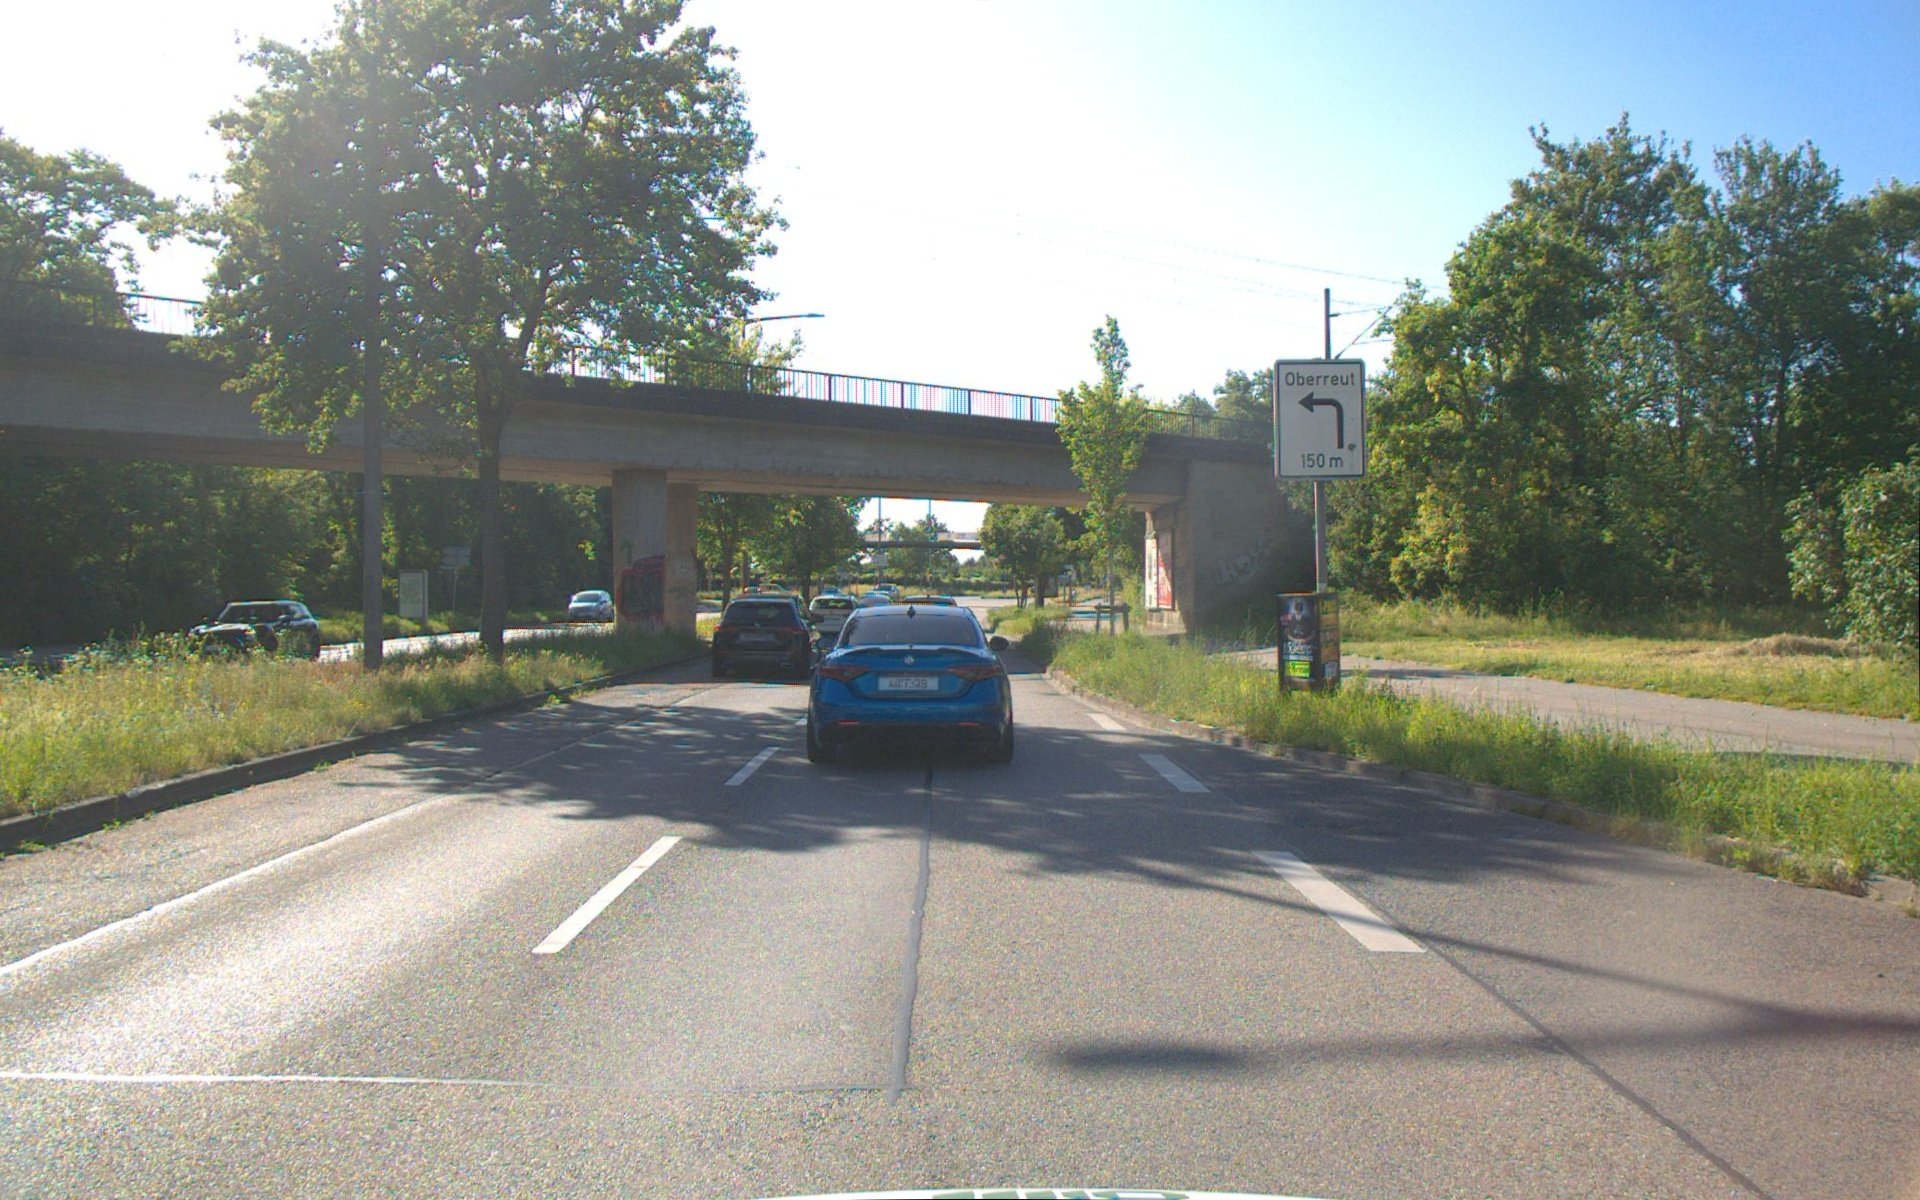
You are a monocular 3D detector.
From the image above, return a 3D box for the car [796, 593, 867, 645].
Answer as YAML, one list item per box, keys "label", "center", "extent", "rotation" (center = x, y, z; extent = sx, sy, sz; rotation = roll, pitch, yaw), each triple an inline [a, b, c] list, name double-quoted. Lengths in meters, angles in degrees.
- label: "car"
  center: [-3.880, 0.549, 50.511]
  extent: [1.844, 1.479, 4.525]
  rotation: [1, 0, -1]

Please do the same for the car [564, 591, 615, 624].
- label: "car"
  center: [-19.277, 0.374, 86.268]
  extent: [1.694, 1.645, 4.179]
  rotation: [-1, 0, 0]

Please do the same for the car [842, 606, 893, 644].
- label: "car"
  center: [-3.756, 1.010, 67.925]
  extent: [1.844, 1.479, 4.525]
  rotation: [1, 0, -1]

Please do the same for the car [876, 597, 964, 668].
- label: "car"
  center: [-0.871, 0.693, 37.301]
  extent: [1.844, 1.479, 4.525]
  rotation: [1, 0, -1]

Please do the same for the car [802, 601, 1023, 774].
- label: "car"
  center: [-0.420, 0.749, 16.146]
  extent: [1.844, 1.431, 4.223]
  rotation: [1, 0, -1]

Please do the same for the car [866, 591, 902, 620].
- label: "car"
  center: [-3.906, 0.280, 85.504]
  extent: [1.743, 1.479, 4.181]
  rotation: [0, 0, -1]

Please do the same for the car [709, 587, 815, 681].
- label: "car"
  center: [-3.649, 0.600, 31.071]
  extent: [1.674, 1.626, 4.221]
  rotation: [1, 0, -3]

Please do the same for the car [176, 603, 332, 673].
- label: "car"
  center: [-15.771, 0.806, 37.164]
  extent: [1.779, 1.467, 4.089]
  rotation: [-1, 0, -1]
